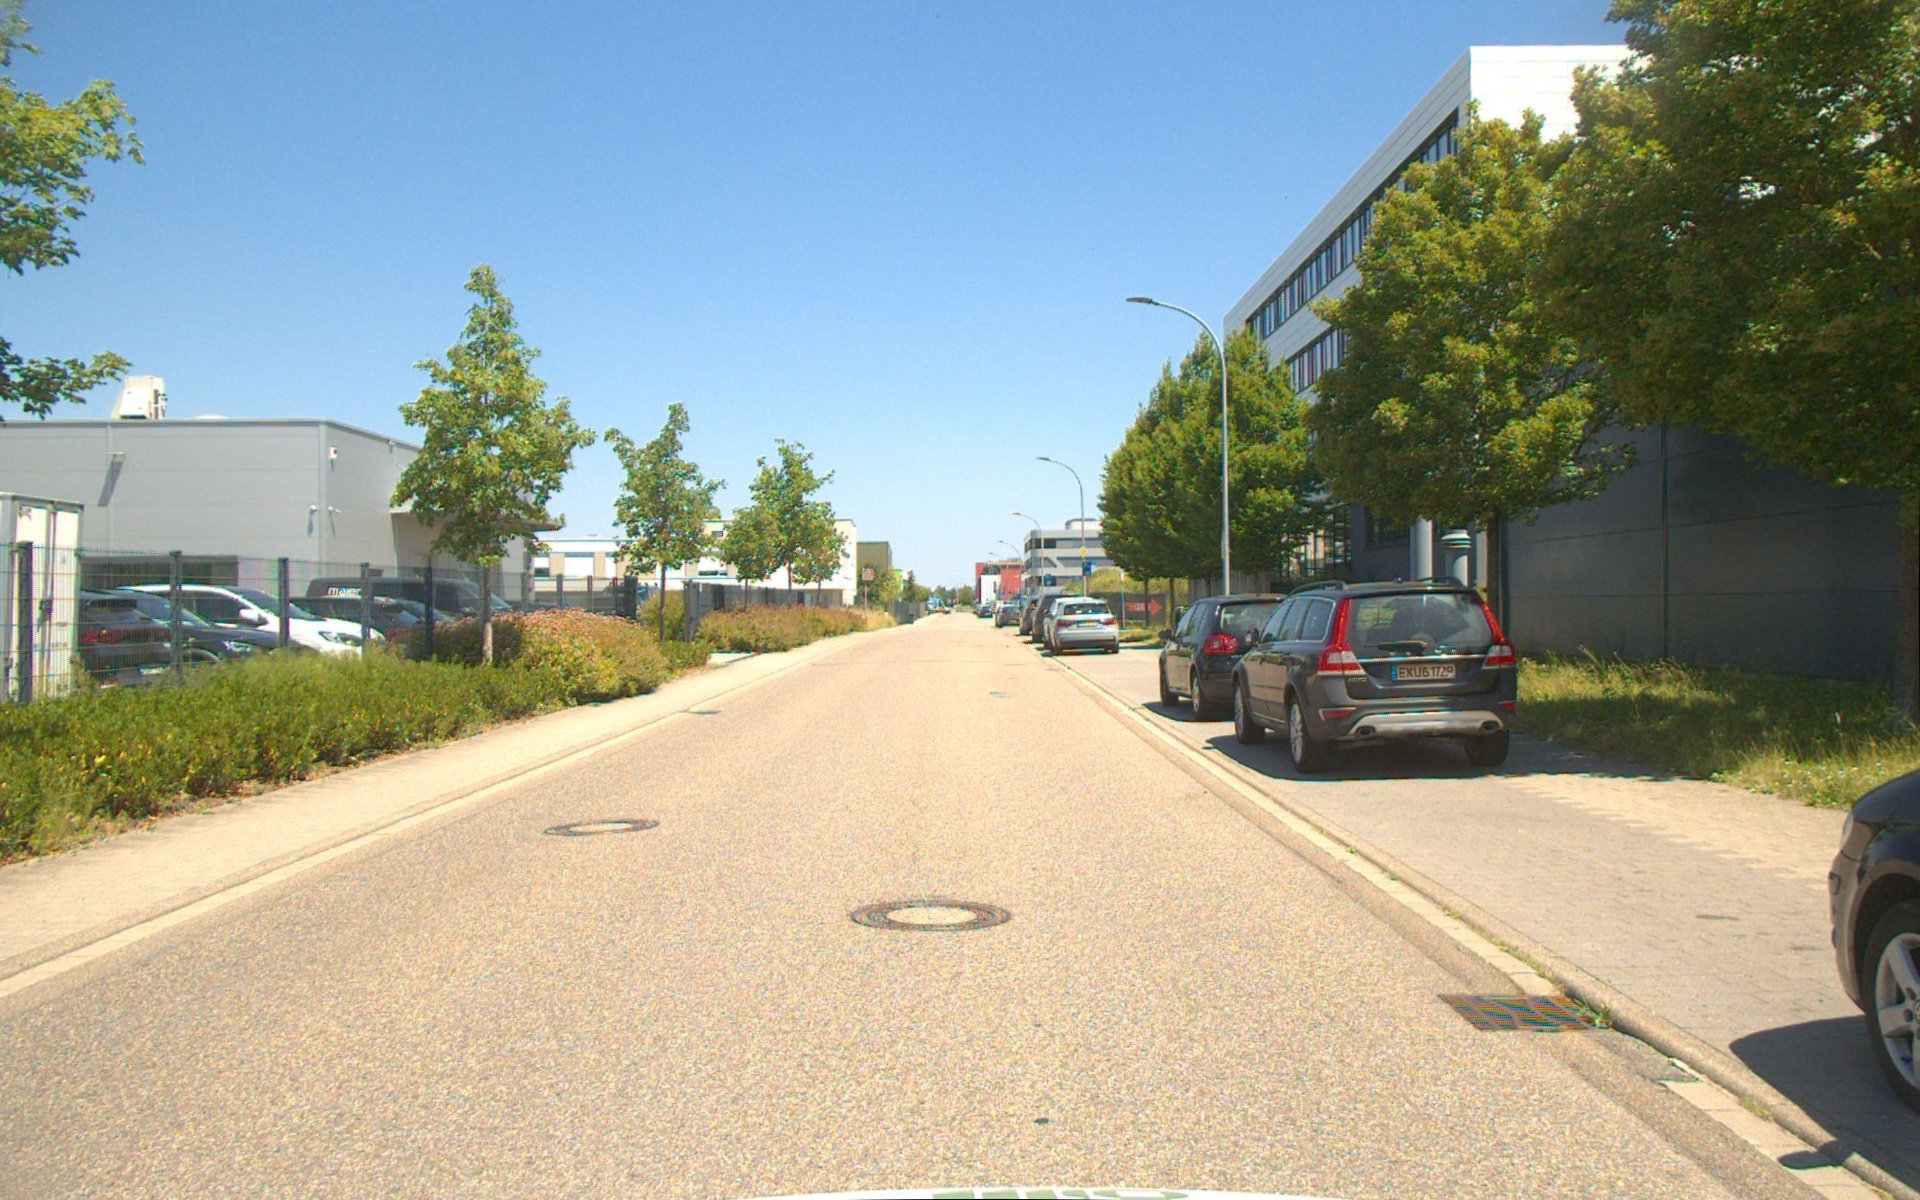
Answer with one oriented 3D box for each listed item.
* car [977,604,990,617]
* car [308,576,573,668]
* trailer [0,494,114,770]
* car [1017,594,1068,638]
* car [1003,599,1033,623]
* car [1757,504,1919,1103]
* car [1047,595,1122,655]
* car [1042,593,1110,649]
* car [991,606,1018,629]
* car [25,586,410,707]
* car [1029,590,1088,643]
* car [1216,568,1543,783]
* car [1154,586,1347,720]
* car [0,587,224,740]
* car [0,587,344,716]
[{"bbox_3d":[3.121,1.375,219.583,1.739,1.758,4.000,1,0,0],"label":"car"},{"bbox_3d":[-10.868,0.447,34.854,4.956,1.883,1.964,0,0,-1],"label":"car"},{"bbox_3d":[-10.204,0.243,15.175,3.907,2.401,1.725,1,0,-3],"label":"trailer"},{"bbox_3d":[3.409,0.631,69.039,1.767,1.691,4.607,-3,0,-1],"label":"car"},{"bbox_3d":[3.835,0.751,108.802,1.868,1.473,4.001,-2,0,3],"label":"car"},{"bbox_3d":[3.573,0.552,3.364,1.702,1.699,4.367,-2,0,-1],"label":"car"},{"bbox_3d":[3.308,0.633,44.399,1.681,1.448,3.951,-3,0,0],"label":"car"},{"bbox_3d":[3.391,0.602,48.983,1.681,1.507,4.031,-3,0,0],"label":"car"},{"bbox_3d":[3.358,1.296,124.455,1.868,1.573,4.001,-2,0,3],"label":"car"},{"bbox_3d":[-10.611,0.643,23.886,4.635,1.657,2.000,0,0,0],"label":"car"},{"bbox_3d":[3.311,0.541,56.366,1.721,1.692,4.363,-2,0,0],"label":"car"},{"bbox_3d":[3.719,0.599,15.572,1.771,1.646,4.713,-2,0,-1],"label":"car"},{"bbox_3d":[3.644,0.622,21.479,1.657,1.502,4.268,-2,0,-1],"label":"car"},{"bbox_3d":[-10.669,0.657,17.938,4.454,1.562,2.000,0,0,0],"label":"car"},{"bbox_3d":[-10.655,0.635,21.366,4.635,1.562,2.000,0,0,0],"label":"car"}]
